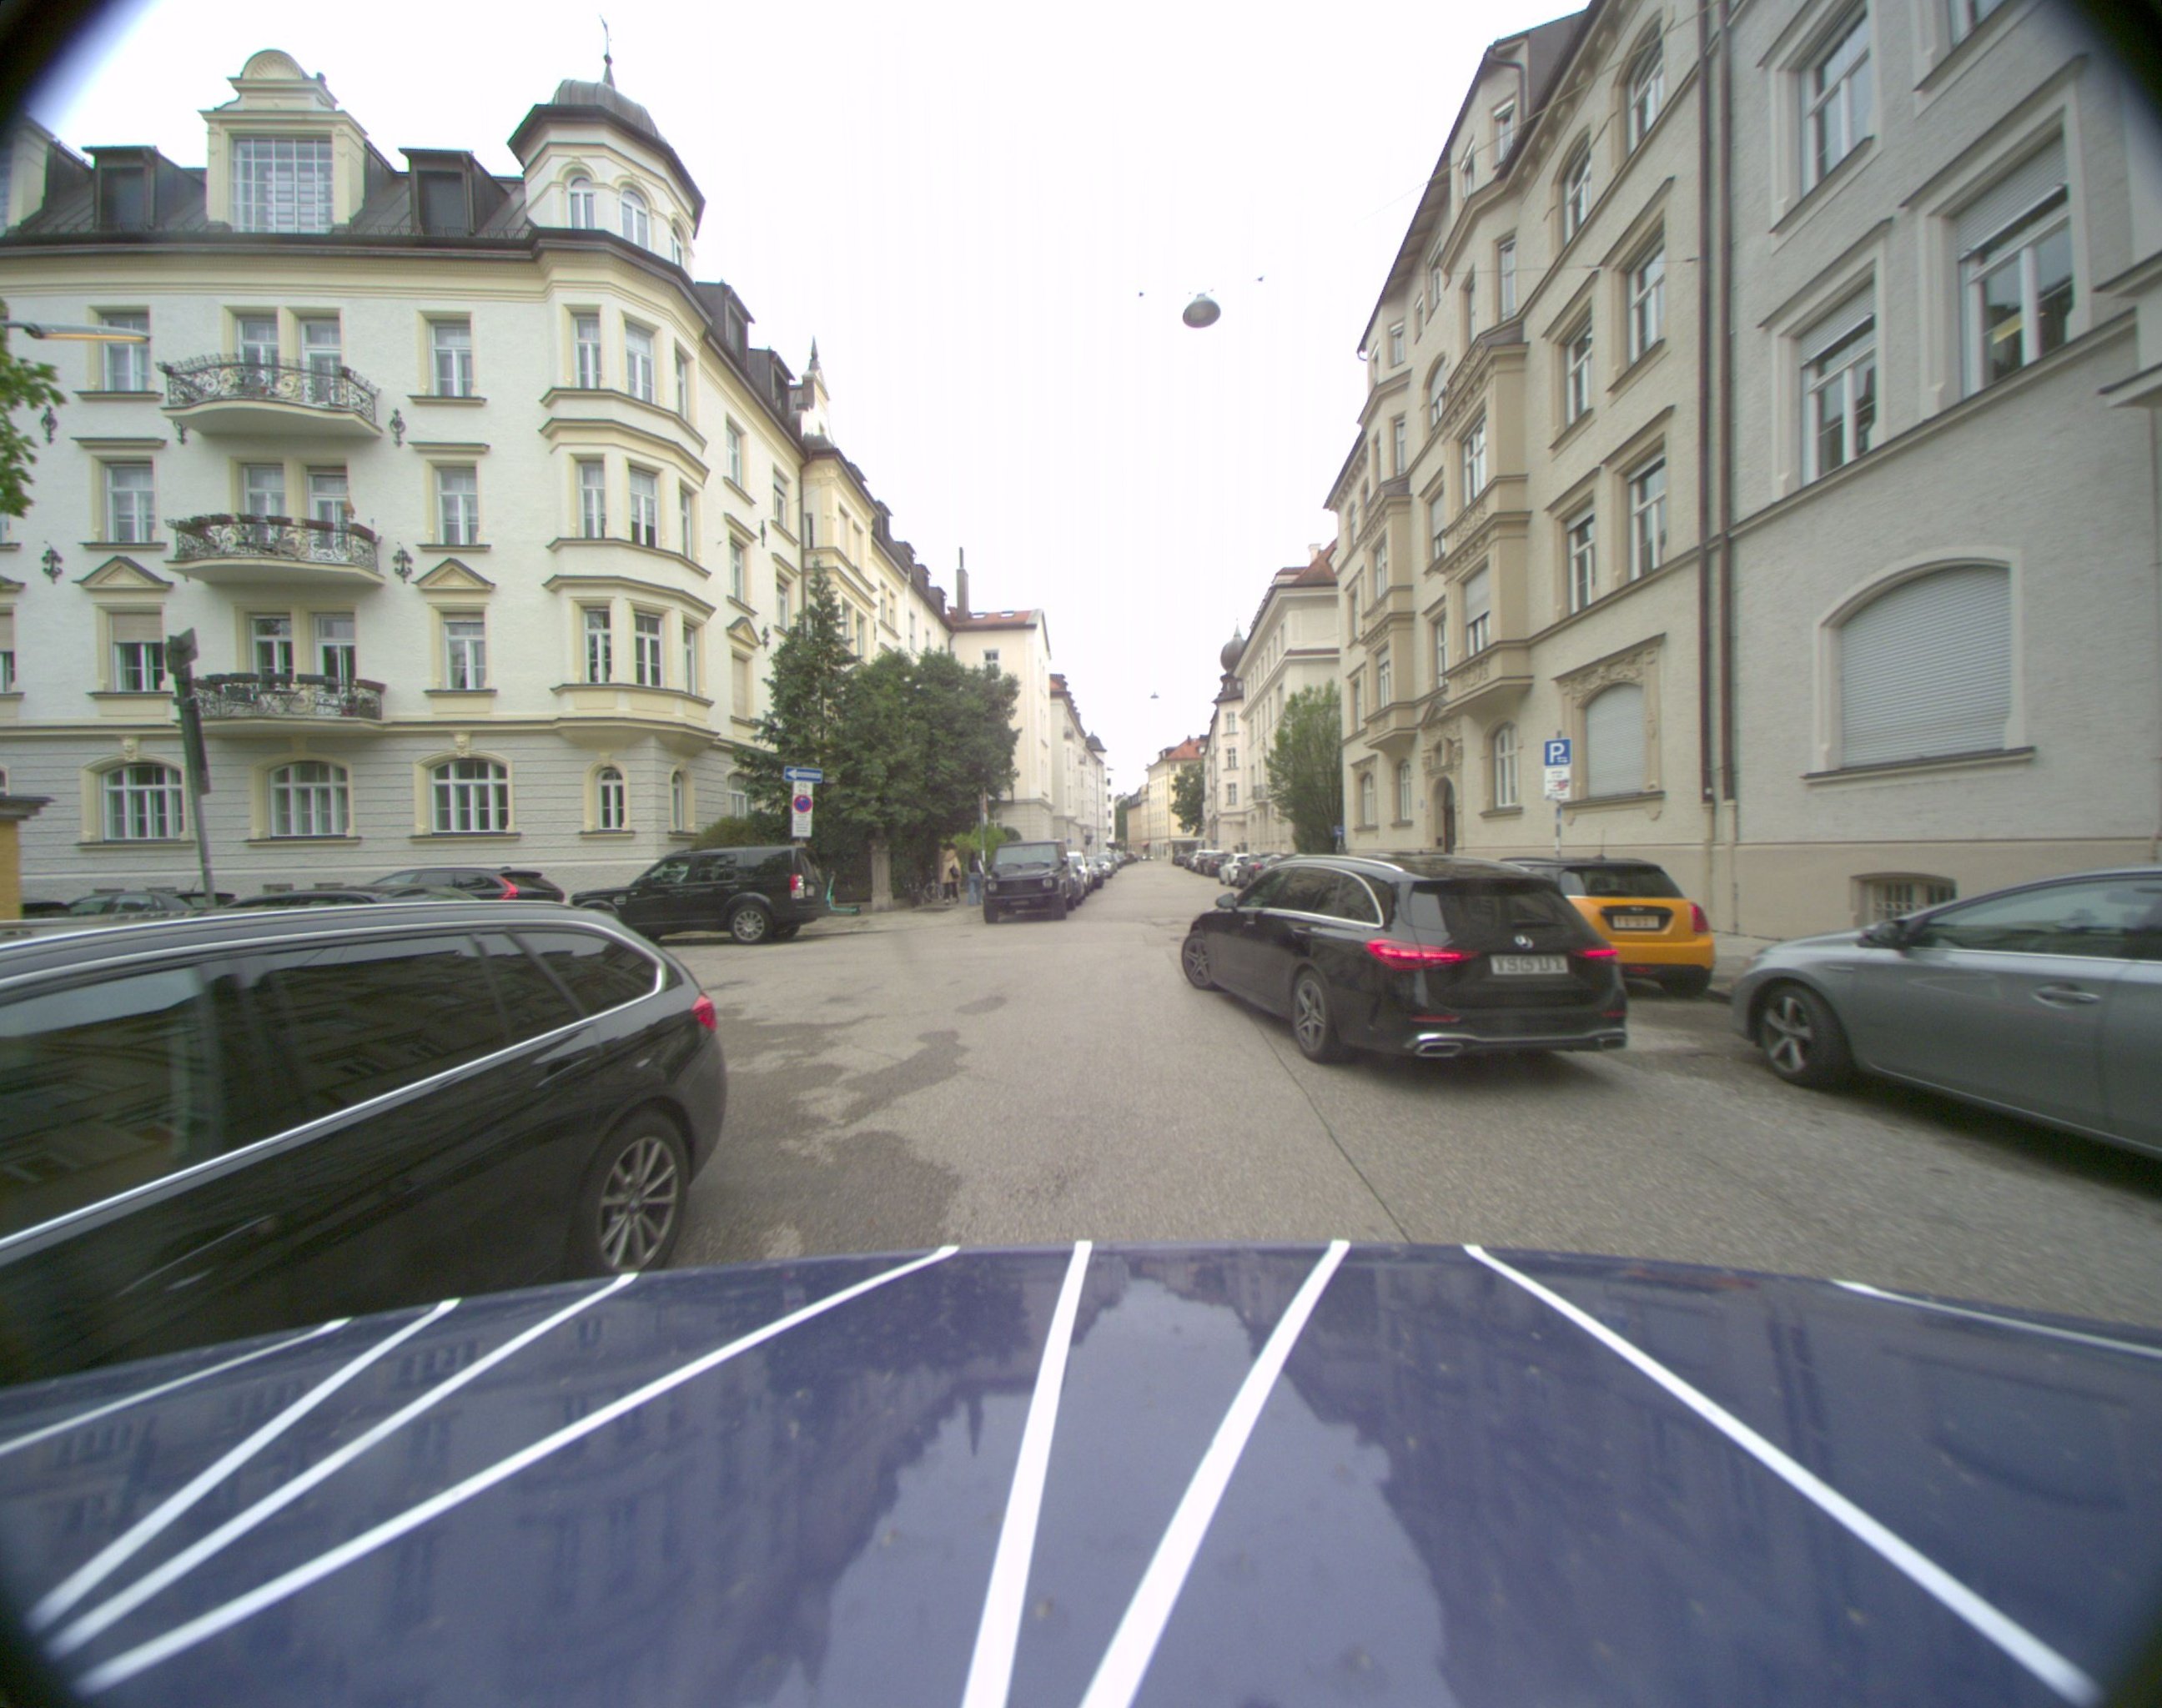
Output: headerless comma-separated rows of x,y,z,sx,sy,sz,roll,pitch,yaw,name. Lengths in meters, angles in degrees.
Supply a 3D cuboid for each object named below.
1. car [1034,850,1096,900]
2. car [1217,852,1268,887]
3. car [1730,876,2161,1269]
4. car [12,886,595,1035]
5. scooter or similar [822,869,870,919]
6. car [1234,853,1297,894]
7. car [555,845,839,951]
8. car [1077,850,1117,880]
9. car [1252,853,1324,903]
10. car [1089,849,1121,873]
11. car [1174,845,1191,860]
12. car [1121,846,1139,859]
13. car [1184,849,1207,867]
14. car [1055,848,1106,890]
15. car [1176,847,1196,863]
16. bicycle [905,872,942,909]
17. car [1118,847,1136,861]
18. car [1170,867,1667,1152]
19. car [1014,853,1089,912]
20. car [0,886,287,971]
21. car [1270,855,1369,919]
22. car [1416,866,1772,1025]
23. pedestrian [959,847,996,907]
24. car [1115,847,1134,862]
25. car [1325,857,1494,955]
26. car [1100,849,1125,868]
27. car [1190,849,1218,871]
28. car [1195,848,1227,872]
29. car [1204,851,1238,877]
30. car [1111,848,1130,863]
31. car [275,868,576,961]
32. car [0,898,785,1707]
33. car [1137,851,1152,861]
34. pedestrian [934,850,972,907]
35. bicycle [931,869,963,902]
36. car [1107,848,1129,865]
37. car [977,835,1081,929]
-0.543,0.761,29.376,1.998,1.643,4.449,-5,0,2,car
7.165,0.652,33.987,1.627,1.421,3.689,0,1,2,car
5.158,0.897,3.123,1.809,1.455,3.938,0,1,4,car
-8.932,1.174,9.115,4.954,1.404,1.742,-1,0,-4,car
-6.123,1.035,19.830,1.089,1.256,0.447,-1,1,5,scooter or similar
7.071,0.706,29.449,1.627,1.421,3.689,0,1,2,car
-7.398,0.837,14.991,4.677,1.860,1.743,-1,-2,-2,car
1.012,0.625,46.482,1.998,1.585,4.300,-5,0,6,car
6.532,0.712,24.288,1.626,1.421,3.589,0,1,5,car
1.853,0.486,57.327,1.998,1.585,4.300,-5,0,6,car
11.645,-0.205,87.388,1.626,1.711,3.921,0,1,4,car
6.868,-0.213,106.855,1.997,1.585,4.301,-5,0,9,car
9.707,0.303,64.636,1.626,1.522,3.921,0,1,4,car
0.064,0.637,34.304,1.998,1.585,4.299,-5,0,2,car
10.452,0.109,75.798,1.626,1.522,3.921,0,1,4,car
-4.705,1.079,22.790,0.448,0.979,1.780,-2,1,9,bicycle
6.168,-0.016,102.020,1.998,1.585,4.429,-5,0,7,car
2.180,0.882,6.488,1.793,1.405,4.579,-1,1,-7,car
-0.845,0.831,24.212,1.998,1.585,3.855,-5,0,2,car
-18.015,1.375,14.471,3.890,1.442,1.743,-1,-2,-2,car
5.950,0.762,19.402,1.626,1.421,3.942,0,1,5,car
5.509,0.866,8.827,1.809,1.355,3.730,0,1,4,car
-3.112,0.687,22.893,0.876,1.746,1.052,-1,1,3,pedestrian
5.563,0.038,96.614,1.998,1.672,4.301,-5,0,7,car
5.718,0.816,13.750,1.626,1.448,3.942,0,1,5,car
2.960,0.417,71.269,1.998,1.585,4.300,-5,0,6,car
8.816,0.393,54.679,1.626,1.522,3.921,0,1,4,car
8.378,0.370,49.252,1.626,1.522,3.690,0,1,4,car
8.150,0.538,44.471,1.626,1.421,3.690,0,1,5,car
4.752,0.134,91.523,1.998,1.585,4.300,-5,0,6,car
-12.462,1.125,14.657,4.224,1.577,1.743,-1,-2,-2,car
-2.478,0.986,1.426,1.717,1.445,4.955,-1,1,2,car
11.630,0.343,139.536,2.000,1.641,3.997,-2,1,-7,car
-3.881,0.717,23.164,0.876,1.680,1.052,-1,1,3,pedestrian
-4.437,1.034,25.240,0.448,0.979,1.780,-2,1,9,bicycle
4.035,0.250,81.950,1.998,1.585,4.300,-5,0,6,car
-1.165,0.627,19.205,1.998,1.949,4.433,-5,0,2,car
